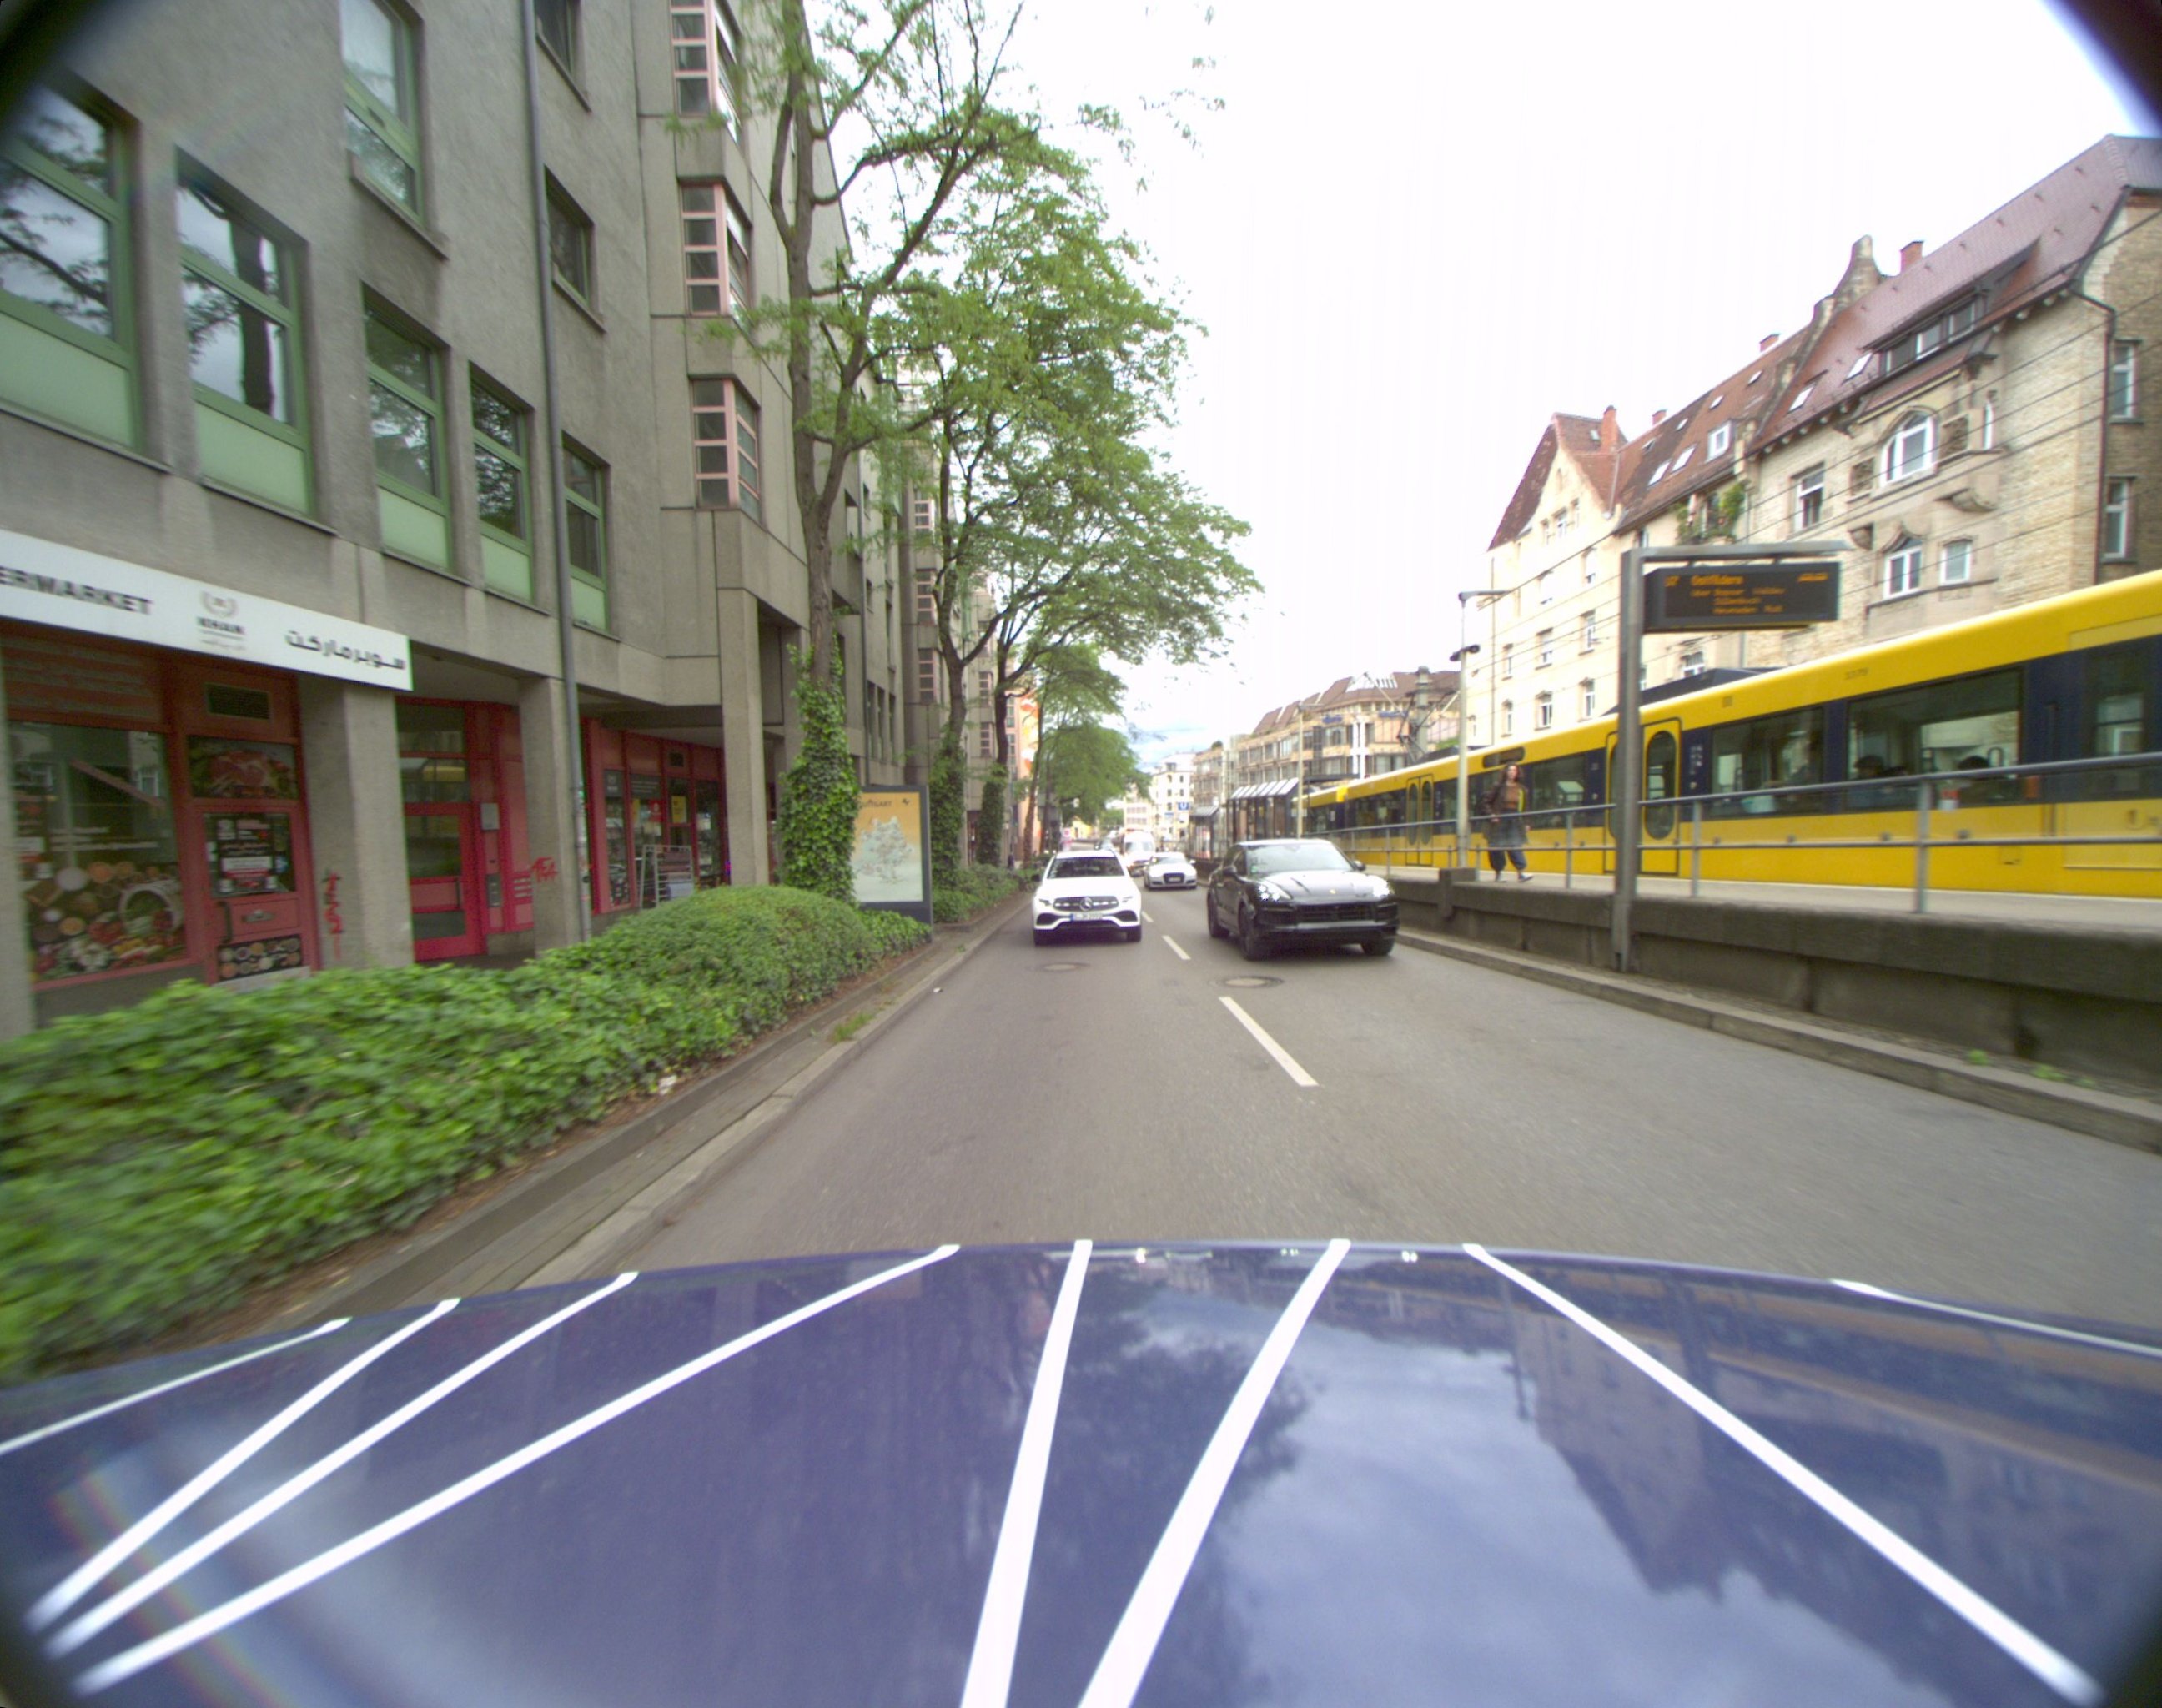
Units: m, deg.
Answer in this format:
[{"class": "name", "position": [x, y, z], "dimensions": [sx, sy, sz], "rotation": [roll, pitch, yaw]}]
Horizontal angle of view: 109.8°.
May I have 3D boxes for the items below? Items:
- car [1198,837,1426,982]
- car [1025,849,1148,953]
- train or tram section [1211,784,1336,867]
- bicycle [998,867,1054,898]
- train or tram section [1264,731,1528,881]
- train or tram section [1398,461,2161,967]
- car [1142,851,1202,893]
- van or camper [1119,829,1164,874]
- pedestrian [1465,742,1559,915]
[{"class": "car", "position": [3.150, 0.657, 11.550], "dimensions": [2.032, 1.675, 4.781], "rotation": [-2, 0, 1]}, {"class": "car", "position": [0.127, 0.751, 14.682], "dimensions": [1.935, 1.622, 4.773], "rotation": [-2, 0, 1]}, {"class": "train or tram section", "position": [9.430, -1.246, 39.583], "dimensions": [2.889, 3.399, 14.229], "rotation": [-3, 0, 1]}, {"class": "bicycle", "position": [-2.173, 1.101, 29.861], "dimensions": [2.093, 1.079, 0.712], "rotation": [-4, 1, -7]}, {"class": "train or tram section", "position": [9.311, -1.191, 25.412], "dimensions": [2.889, 3.421, 14.229], "rotation": [-3, 0, 1]}, {"class": "train or tram section", "position": [9.134, -1.078, 11.238], "dimensions": [2.930, 3.538, 14.229], "rotation": [-3, 0, 1]}, {"class": "car", "position": [3.585, 0.666, 30.689], "dimensions": [1.897, 1.466, 4.531], "rotation": [-2, 0, 1]}, {"class": "van or camper", "position": [3.740, -0.165, 47.908], "dimensions": [2.208, 2.543, 6.373], "rotation": [-3, 1, 0]}, {"class": "pedestrian", "position": [5.874, -0.334, 10.398], "dimensions": [0.838, 2.271, 0.772], "rotation": [-1, 1, 1]}]
